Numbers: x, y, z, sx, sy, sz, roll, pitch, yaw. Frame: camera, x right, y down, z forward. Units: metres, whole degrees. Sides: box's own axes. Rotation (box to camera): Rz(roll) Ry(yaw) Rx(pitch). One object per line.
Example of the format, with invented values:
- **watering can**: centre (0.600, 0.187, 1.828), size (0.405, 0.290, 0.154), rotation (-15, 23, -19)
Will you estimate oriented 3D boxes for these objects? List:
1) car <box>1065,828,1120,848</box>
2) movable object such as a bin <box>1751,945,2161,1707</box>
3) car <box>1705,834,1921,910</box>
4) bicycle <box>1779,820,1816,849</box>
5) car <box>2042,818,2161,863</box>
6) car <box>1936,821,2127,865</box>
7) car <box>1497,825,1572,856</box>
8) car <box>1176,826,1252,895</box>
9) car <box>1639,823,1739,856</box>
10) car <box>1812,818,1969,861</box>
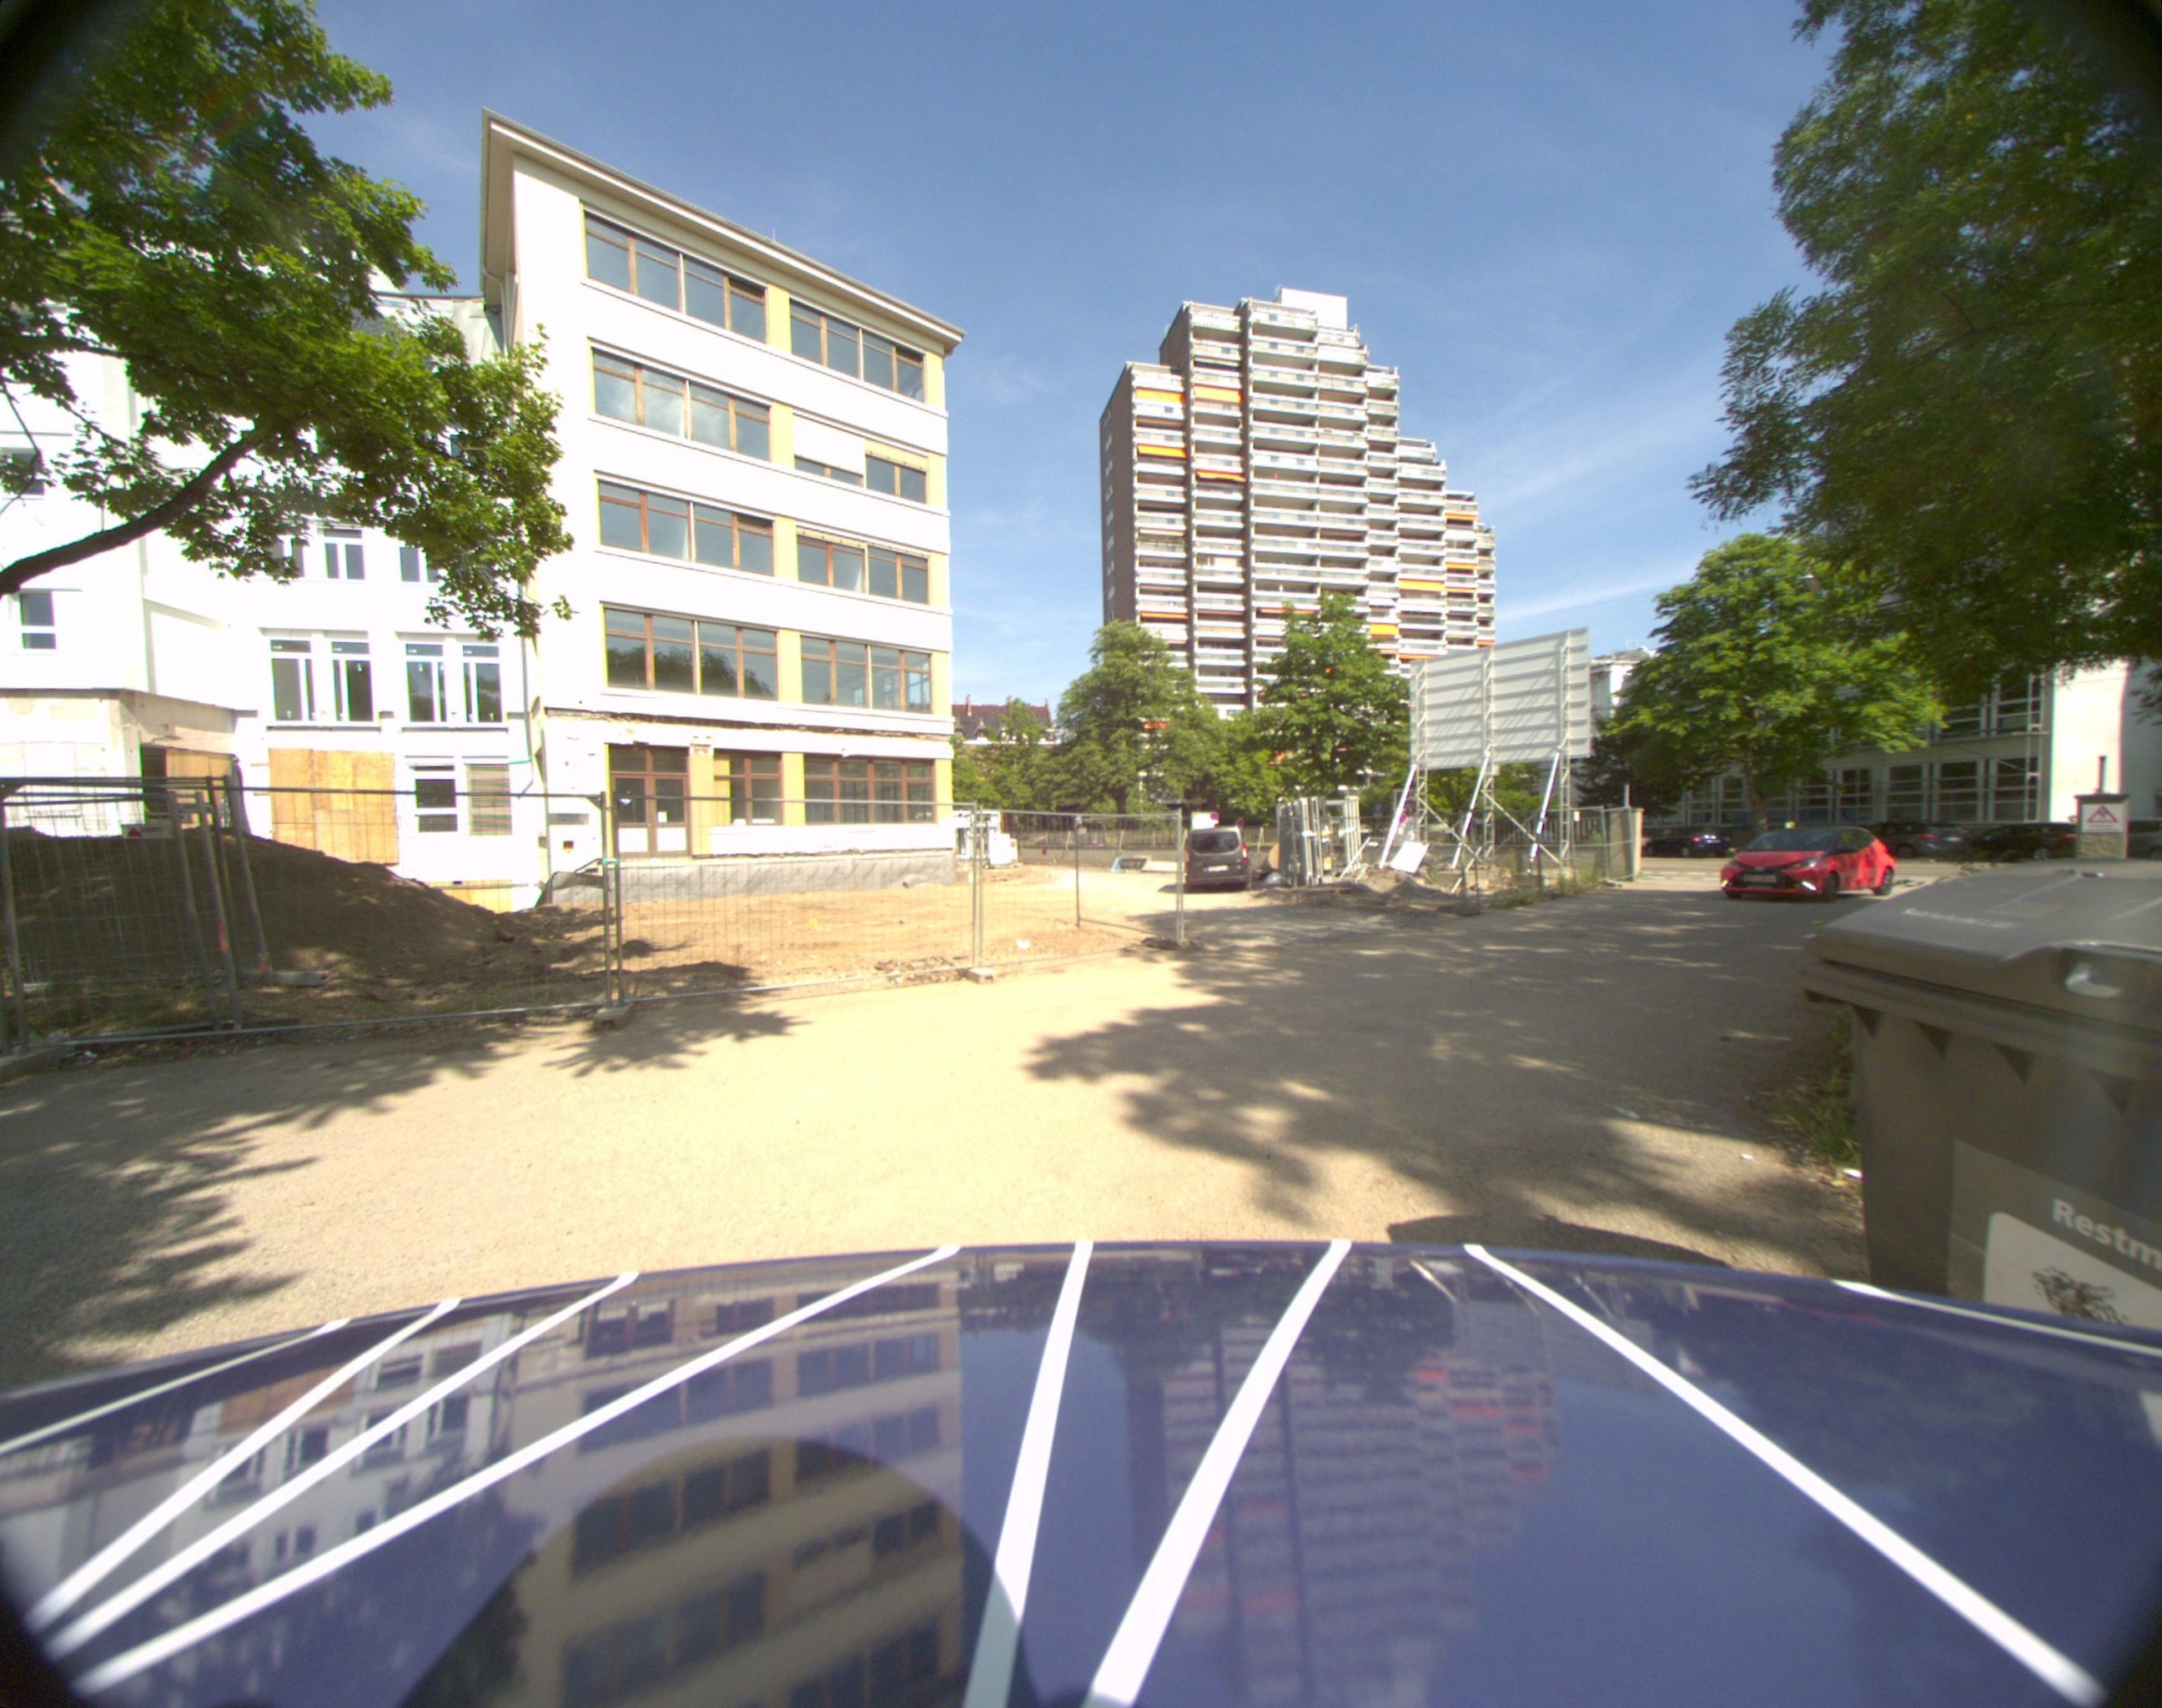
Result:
- **car**: centre (0.850, -1.213, 59.545), size (1.947, 1.513, 4.377), rotation (-1, 2, -39)
- **movable object such as a bin**: centre (2.118, 0.920, 1.010), size (1.246, 1.389, 1.404), rotation (-1, 2, 7)
- **car**: centre (15.011, 0.295, 15.575), size (4.180, 1.405, 1.659), rotation (-1, 1, -23)
- **bicycle**: centre (35.773, -0.977, 37.926), size (2.018, 1.371, 0.488), rotation (-2, 2, -20)
- **car**: centre (36.609, -0.482, 26.143), size (1.800, 1.478, 4.340), rotation (-1, 2, 6)
- **car**: centre (34.525, -0.434, 27.807), size (1.800, 1.467, 4.185), rotation (-1, 2, 3)
- **car**: centre (24.019, -0.766, 40.413), size (1.841, 1.402, 4.146), rotation (-2, 3, 5)
- **car**: centre (3.944, 0.098, 22.328), size (1.919, 1.770, 4.315), rotation (-2, 2, 11)
- **car**: centre (28.150, -0.693, 35.354), size (1.652, 1.443, 4.000), rotation (-1, 2, 4)
- **car**: centre (32.295, -0.594, 30.540), size (1.806, 1.556, 4.391), rotation (-1, 2, 4)
